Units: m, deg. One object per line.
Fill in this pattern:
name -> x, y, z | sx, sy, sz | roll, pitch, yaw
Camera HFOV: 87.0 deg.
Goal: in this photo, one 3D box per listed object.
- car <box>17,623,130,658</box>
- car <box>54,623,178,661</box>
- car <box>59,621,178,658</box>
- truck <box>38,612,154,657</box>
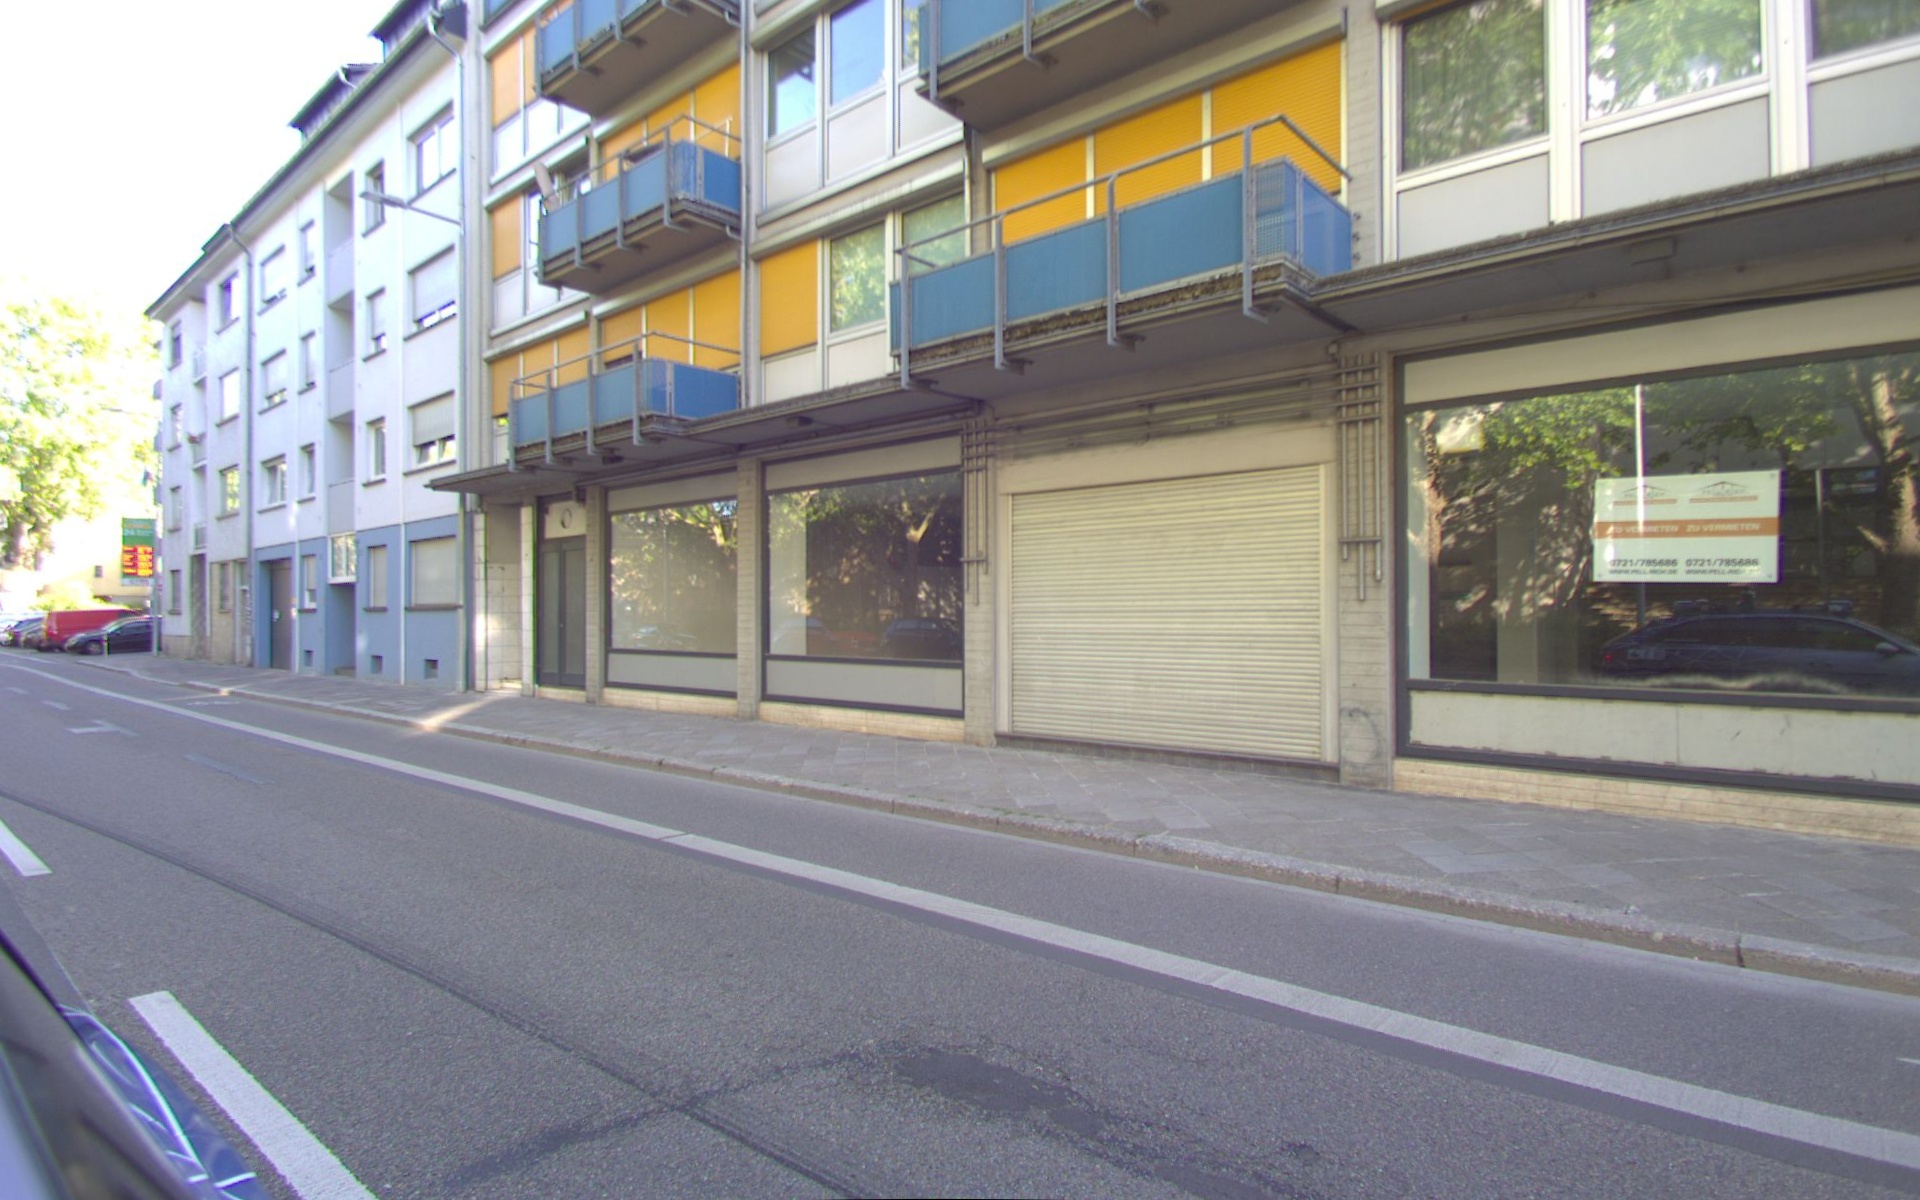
car -> -42.924, 1.911, 49.048 | 1.761, 1.514, 3.944 | -1, 0, 42
car -> -36.642, 1.769, 44.022 | 1.761, 1.468, 3.944 | -1, 0, 42
car -> -38.123, 1.766, 45.910 | 1.761, 1.514, 3.944 | -1, 0, 42
truck -> -40.514, 1.579, 47.501 | 1.761, 1.951, 3.944 | -1, 0, 42
